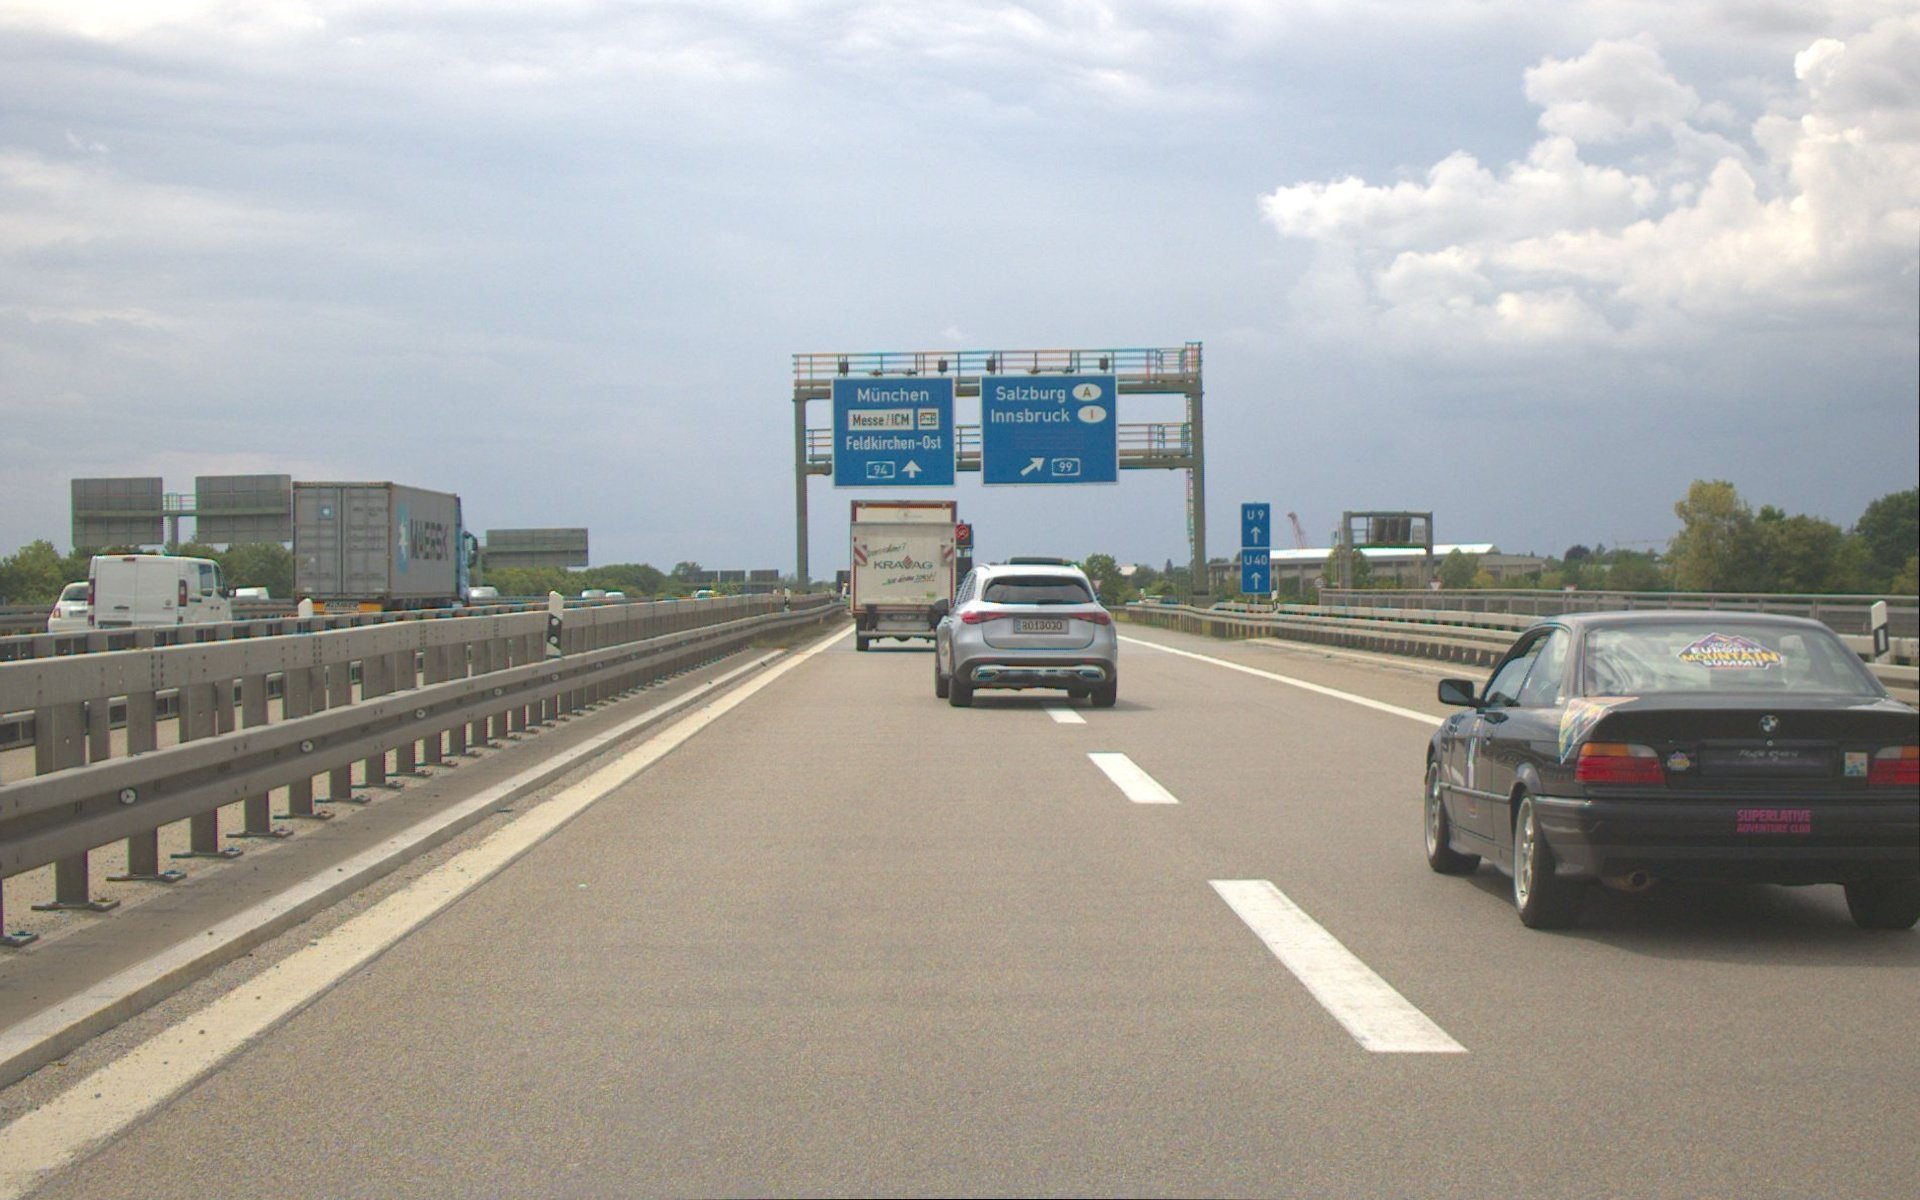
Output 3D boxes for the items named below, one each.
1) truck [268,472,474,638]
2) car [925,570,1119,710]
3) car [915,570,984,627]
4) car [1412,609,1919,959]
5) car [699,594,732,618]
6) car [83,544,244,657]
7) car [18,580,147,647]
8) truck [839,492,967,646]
[{"bbox_3d":[-15.532,-1.198,92.047,3.183,4.005,16.076,1,1,-2],"label":"truck"},{"bbox_3d":[0.669,0.429,40.068,1.819,1.509,4.001,1,1,-5],"label":"car"},{"bbox_3d":[-0.316,-0.057,97.775,1.884,1.546,4.000,1,1,-1],"label":"car"},{"bbox_3d":[3.169,0.726,15.604,1.704,1.277,4.366,1,1,1],"label":"car"},{"bbox_3d":[-15.927,0.383,223.898,1.828,1.557,4.000,0,1,1],"label":"car"},{"bbox_3d":[-14.807,-0.016,64.139,1.993,2.007,4.374,1,1,-1],"label":"car"},{"bbox_3d":[-19.570,0.281,76.811,1.798,1.415,4.000,1,1,1],"label":"car"},{"bbox_3d":[-1.224,-0.588,74.894,2.569,3.115,8.634,1,-1,-1],"label":"truck"}]
